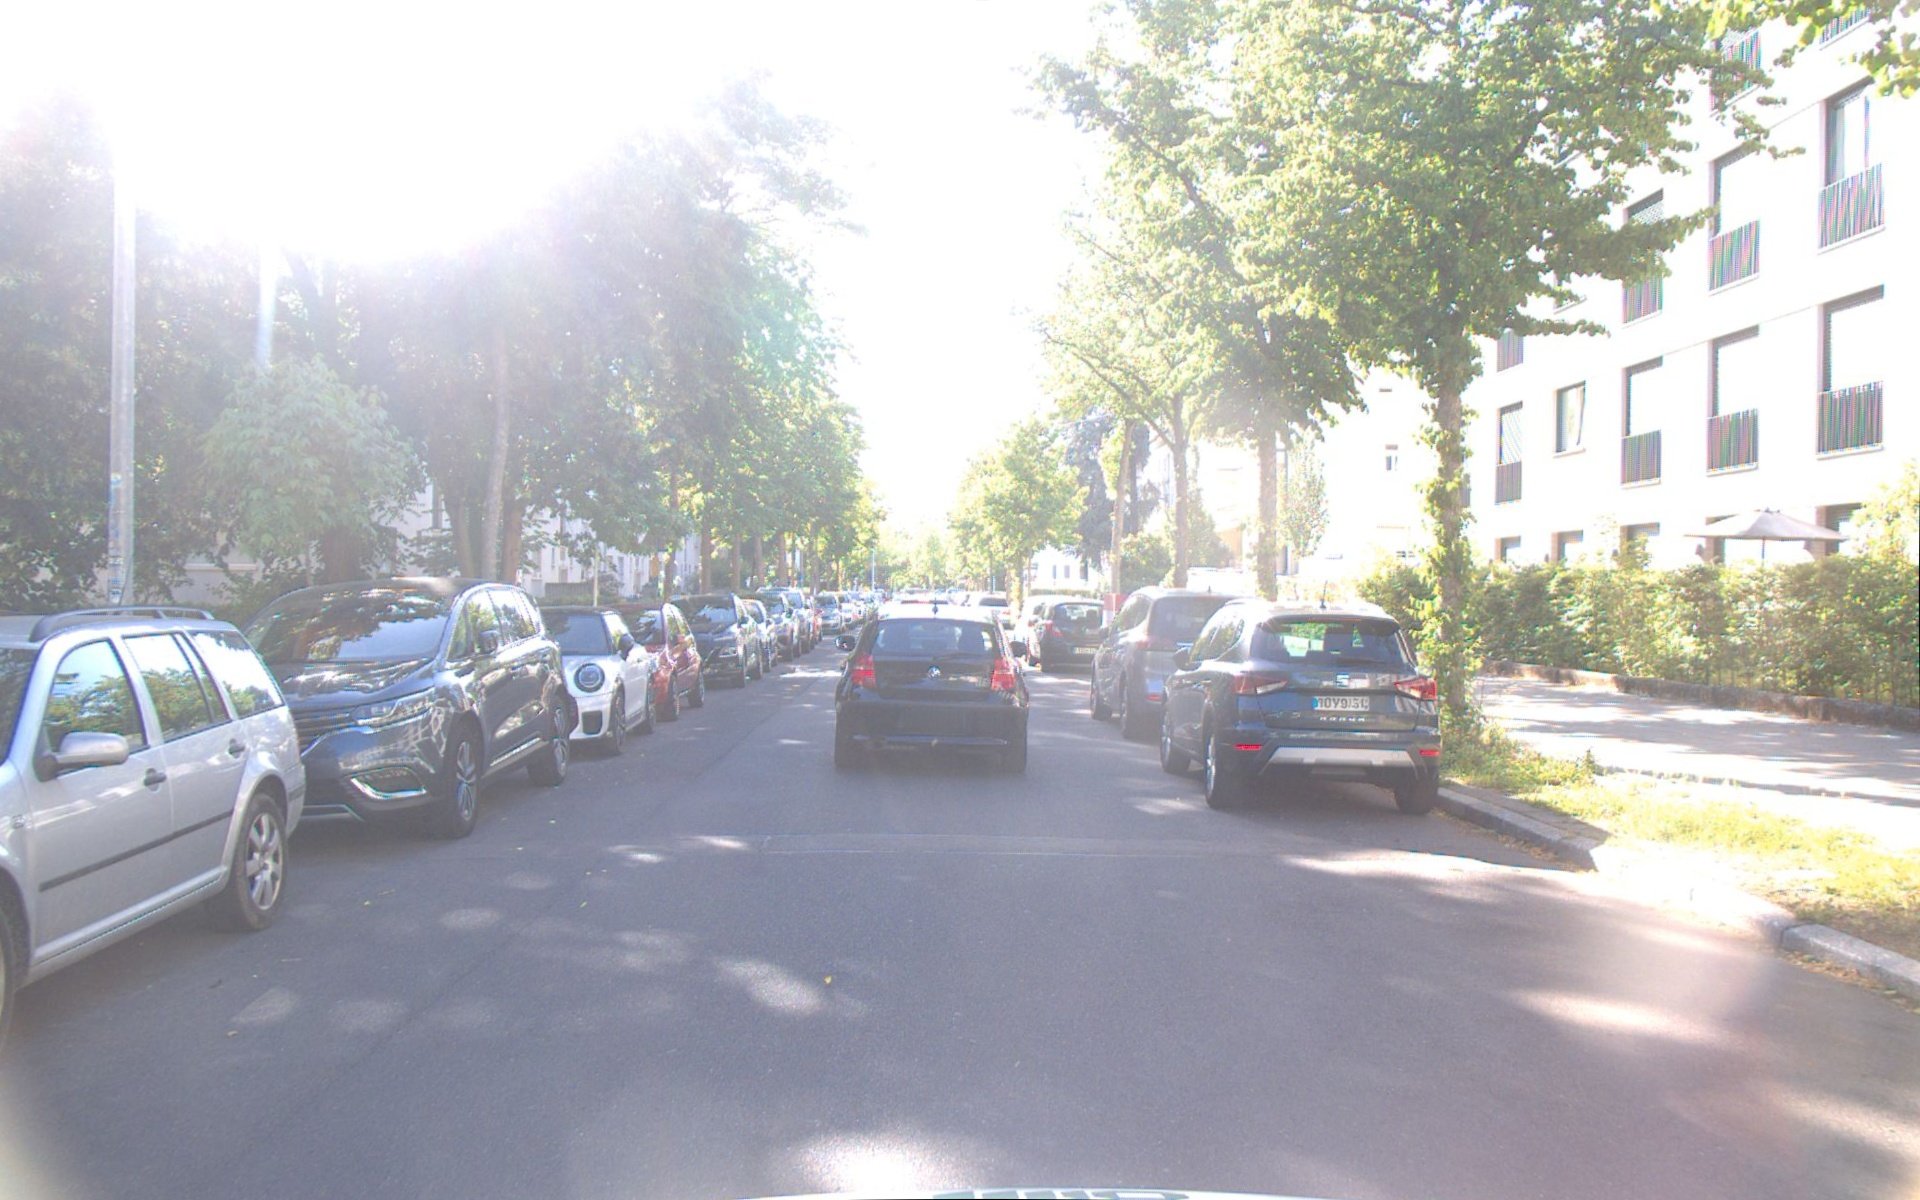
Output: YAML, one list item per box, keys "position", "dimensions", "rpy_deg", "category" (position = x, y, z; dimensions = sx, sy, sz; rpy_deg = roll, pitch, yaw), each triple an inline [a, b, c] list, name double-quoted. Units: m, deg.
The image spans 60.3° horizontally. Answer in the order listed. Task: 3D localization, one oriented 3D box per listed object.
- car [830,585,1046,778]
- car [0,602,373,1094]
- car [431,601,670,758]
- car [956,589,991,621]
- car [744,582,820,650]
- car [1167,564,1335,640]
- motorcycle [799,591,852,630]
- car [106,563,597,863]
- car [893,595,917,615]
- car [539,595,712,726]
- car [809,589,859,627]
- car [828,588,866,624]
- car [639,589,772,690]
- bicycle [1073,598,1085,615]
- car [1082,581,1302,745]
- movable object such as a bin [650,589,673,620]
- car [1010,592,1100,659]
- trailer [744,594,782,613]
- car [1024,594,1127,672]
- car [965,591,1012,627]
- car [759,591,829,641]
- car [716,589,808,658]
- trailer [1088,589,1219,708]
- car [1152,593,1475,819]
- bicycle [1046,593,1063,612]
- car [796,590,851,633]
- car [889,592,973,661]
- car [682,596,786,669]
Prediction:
- position: [-0.267, 0.650, 15.512]
  dimensions: [1.747, 1.550, 3.998]
  rpy_deg: [-1, 0, -3]
  category: "car"
- position: [-3.907, 0.785, 6.656]
  dimensions: [1.672, 1.506, 4.487]
  rpy_deg: [-1, 0, -3]
  category: "car"
- position: [-4.112, 0.728, 17.233]
  dimensions: [1.621, 1.397, 4.187]
  rpy_deg: [-1, 0, -3]
  category: "car"
- position: [0.749, 0.262, 95.521]
  dimensions: [1.886, 1.680, 5.095]
  rpy_deg: [2, 0, 0]
  category: "car"
- position: [-4.771, 0.400, 44.911]
  dimensions: [1.732, 1.717, 4.812]
  rpy_deg: [-1, 0, -3]
  category: "car"
- position: [9.294, 0.046, 52.795]
  dimensions: [4.976, 2.346, 2.217]
  rpy_deg: [0, 0, -25]
  category: "car"
- position: [-5.416, 0.430, 66.477]
  dimensions: [0.981, 1.530, 2.200]
  rpy_deg: [-1, 0, -41]
  category: "motorcycle"
- position: [-4.017, 0.625, 11.957]
  dimensions: [1.805, 1.685, 5.085]
  rpy_deg: [-1, 0, -2]
  category: "car"
- position: [-4.298, 0.389, 127.895]
  dimensions: [1.773, 1.471, 4.364]
  rpy_deg: [-1, 0, -3]
  category: "car"
- position: [-4.281, 0.709, 21.705]
  dimensions: [1.621, 1.531, 4.066]
  rpy_deg: [-1, 0, -3]
  category: "car"
- position: [-5.378, 0.307, 70.457]
  dimensions: [2.023, 1.551, 4.717]
  rpy_deg: [0, 0, -5]
  category: "car"
- position: [-5.568, 0.271, 82.203]
  dimensions: [1.694, 1.646, 4.364]
  rpy_deg: [-3, 0, -3]
  category: "car"
- position: [-4.375, 0.628, 29.041]
  dimensions: [1.671, 1.604, 4.481]
  rpy_deg: [-1, 0, -1]
  category: "car"
- position: [6.956, 0.356, 97.056]
  dimensions: [0.569, 0.992, 1.903]
  rpy_deg: [0, 0, 0]
  category: "bicycle"
- position: [2.636, 0.654, 19.912]
  dimensions: [1.756, 1.672, 4.817]
  rpy_deg: [2, 0, -2]
  category: "car"
- position: [-12.981, 0.201, 71.909]
  dimensions: [0.912, 1.347, 1.377]
  rpy_deg: [0, 0, -7]
  category: "movable object such as a bin"
- position: [2.217, 0.568, 39.545]
  dimensions: [1.698, 1.513, 4.007]
  rpy_deg: [1, 0, -3]
  category: "car"
- position: [-11.505, 0.192, 96.752]
  dimensions: [1.752, 1.052, 3.281]
  rpy_deg: [0, 0, 0]
  category: "trailer"
- position: [2.375, 0.644, 34.979]
  dimensions: [1.637, 1.476, 4.176]
  rpy_deg: [2, 0, -3]
  category: "car"
- position: [1.272, 0.386, 75.236]
  dimensions: [1.785, 1.495, 4.906]
  rpy_deg: [2, 0, -3]
  category: "car"
- position: [-5.095, 0.466, 51.161]
  dimensions: [1.819, 1.495, 4.181]
  rpy_deg: [0, 0, -1]
  category: "car"
- position: [-4.685, 0.522, 39.676]
  dimensions: [1.733, 1.558, 4.419]
  rpy_deg: [0, 0, -1]
  category: "car"
- position: [2.820, 0.669, 24.687]
  dimensions: [1.542, 1.606, 3.192]
  rpy_deg: [2, 0, 0]
  category: "trailer"
- position: [2.727, 0.735, 13.737]
  dimensions: [1.683, 1.543, 4.344]
  rpy_deg: [1, 0, -1]
  category: "car"
- position: [6.464, 0.140, 112.921]
  dimensions: [0.822, 1.279, 2.229]
  rpy_deg: [1, 0, -5]
  category: "bicycle"
- position: [-5.122, 0.408, 62.507]
  dimensions: [2.002, 1.551, 4.603]
  rpy_deg: [0, 0, -4]
  category: "car"
- position: [-0.766, 0.633, 40.147]
  dimensions: [1.858, 1.551, 4.964]
  rpy_deg: [1, -1, -3]
  category: "car"
- position: [-4.605, 0.623, 34.248]
  dimensions: [1.749, 1.376, 4.479]
  rpy_deg: [-1, 0, -3]
  category: "car"
